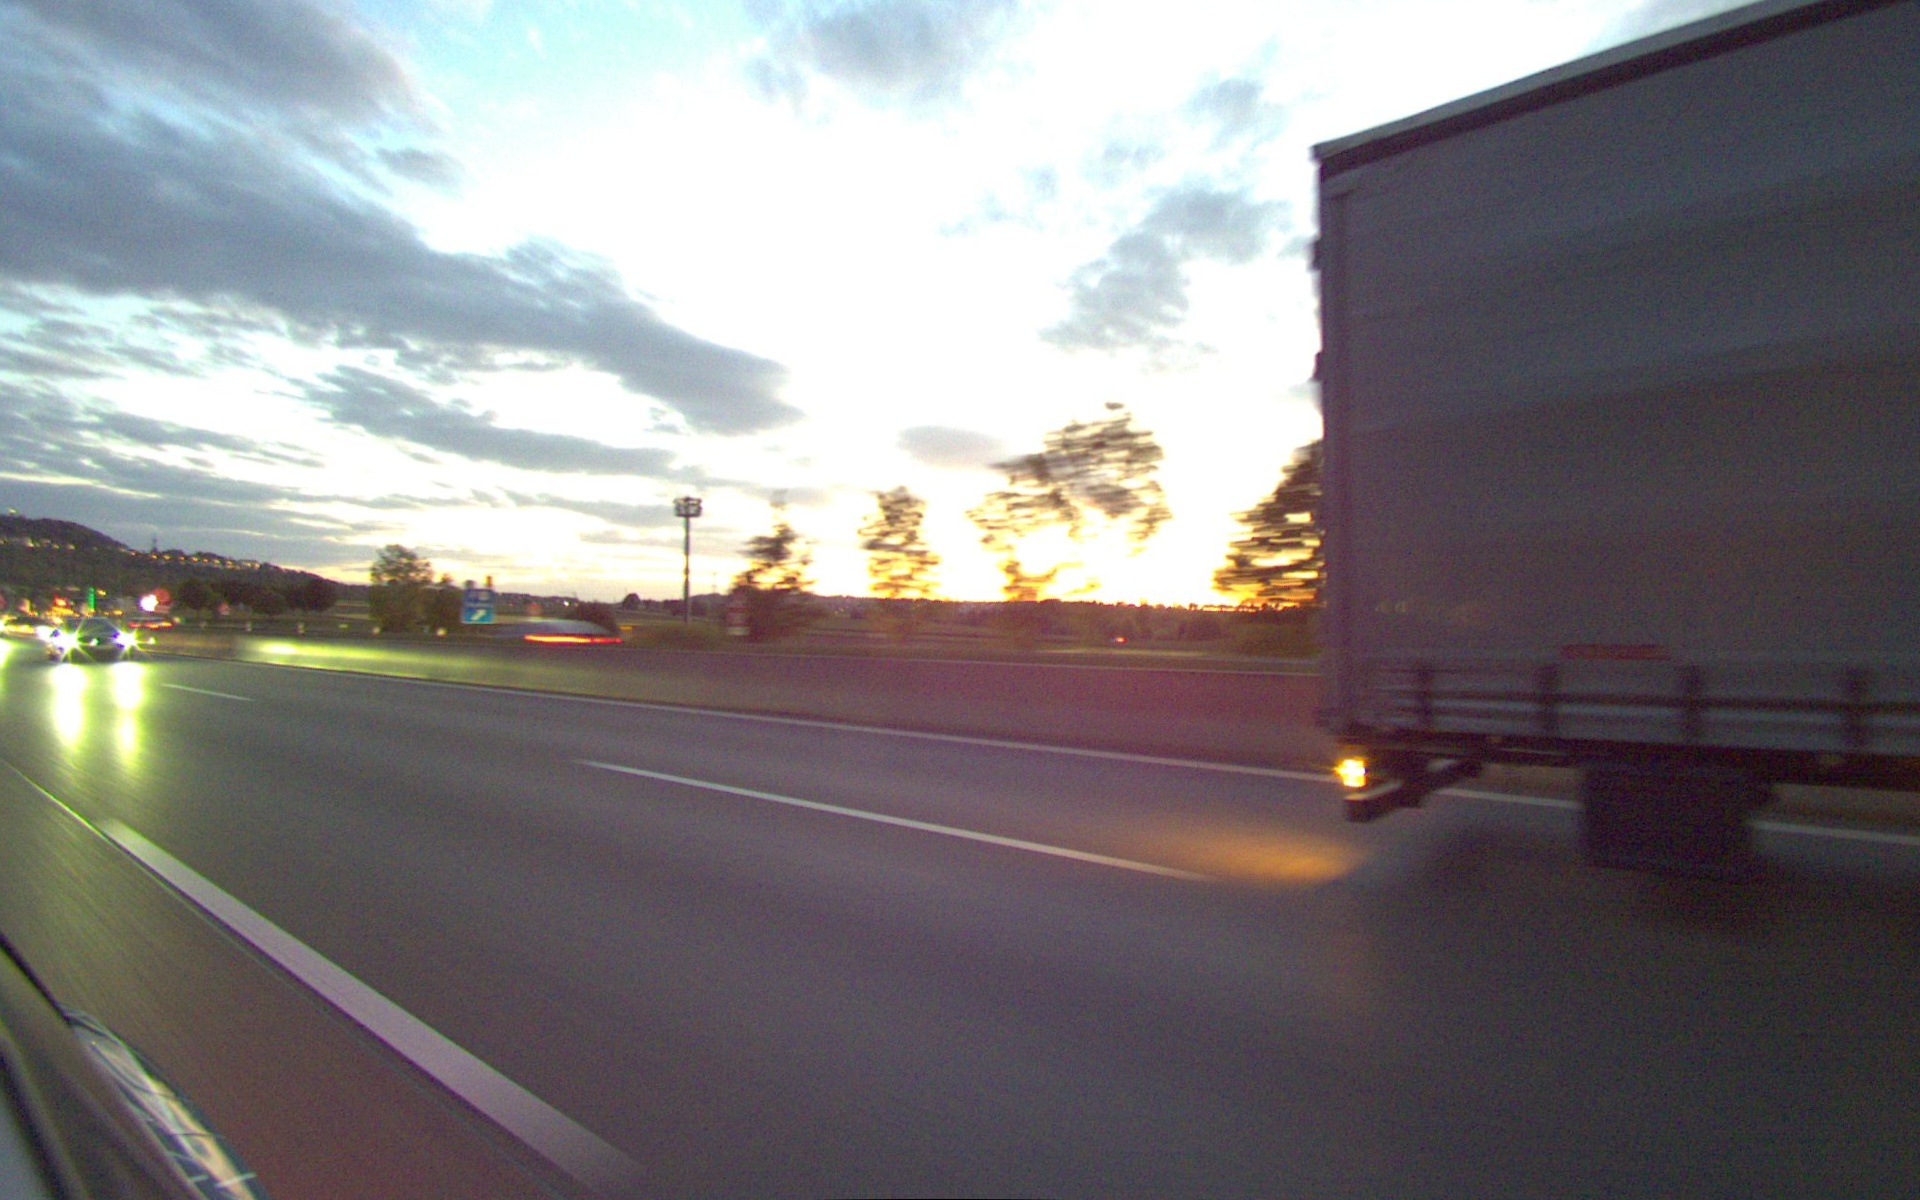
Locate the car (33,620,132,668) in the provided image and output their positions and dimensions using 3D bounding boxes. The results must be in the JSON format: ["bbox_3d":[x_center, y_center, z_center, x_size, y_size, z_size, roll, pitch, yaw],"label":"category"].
[{"bbox_3d":[-29.859,1.428,34.380,5.392,1.448,1.795,-1,0,41],"label":"car"}]

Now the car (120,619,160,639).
[{"bbox_3d":[-58.073,2.049,71.664,3.643,1.299,1.637,-1,0,41],"label":"car"}]

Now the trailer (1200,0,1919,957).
[{"bbox_3d":[7.668,-0.726,2.001,14.523,4.116,2.764,-1,-1,42],"label":"trailer"}]

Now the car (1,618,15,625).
[{"bbox_3d":[-166.968,3.808,177.481,3.608,1.200,1.520,-1,0,42],"label":"car"}]

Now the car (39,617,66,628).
[{"bbox_3d":[-103.740,2.572,115.689,3.998,1.187,1.911,-1,0,41],"label":"car"}]

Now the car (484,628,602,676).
[{"bbox_3d":[-12.591,1.517,30.472,3.998,1.257,1.685,-1,0,41],"label":"car"}]

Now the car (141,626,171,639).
[{"bbox_3d":[-80.569,3.271,101.422,3.998,1.187,1.700,-1,0,41],"label":"car"}]
